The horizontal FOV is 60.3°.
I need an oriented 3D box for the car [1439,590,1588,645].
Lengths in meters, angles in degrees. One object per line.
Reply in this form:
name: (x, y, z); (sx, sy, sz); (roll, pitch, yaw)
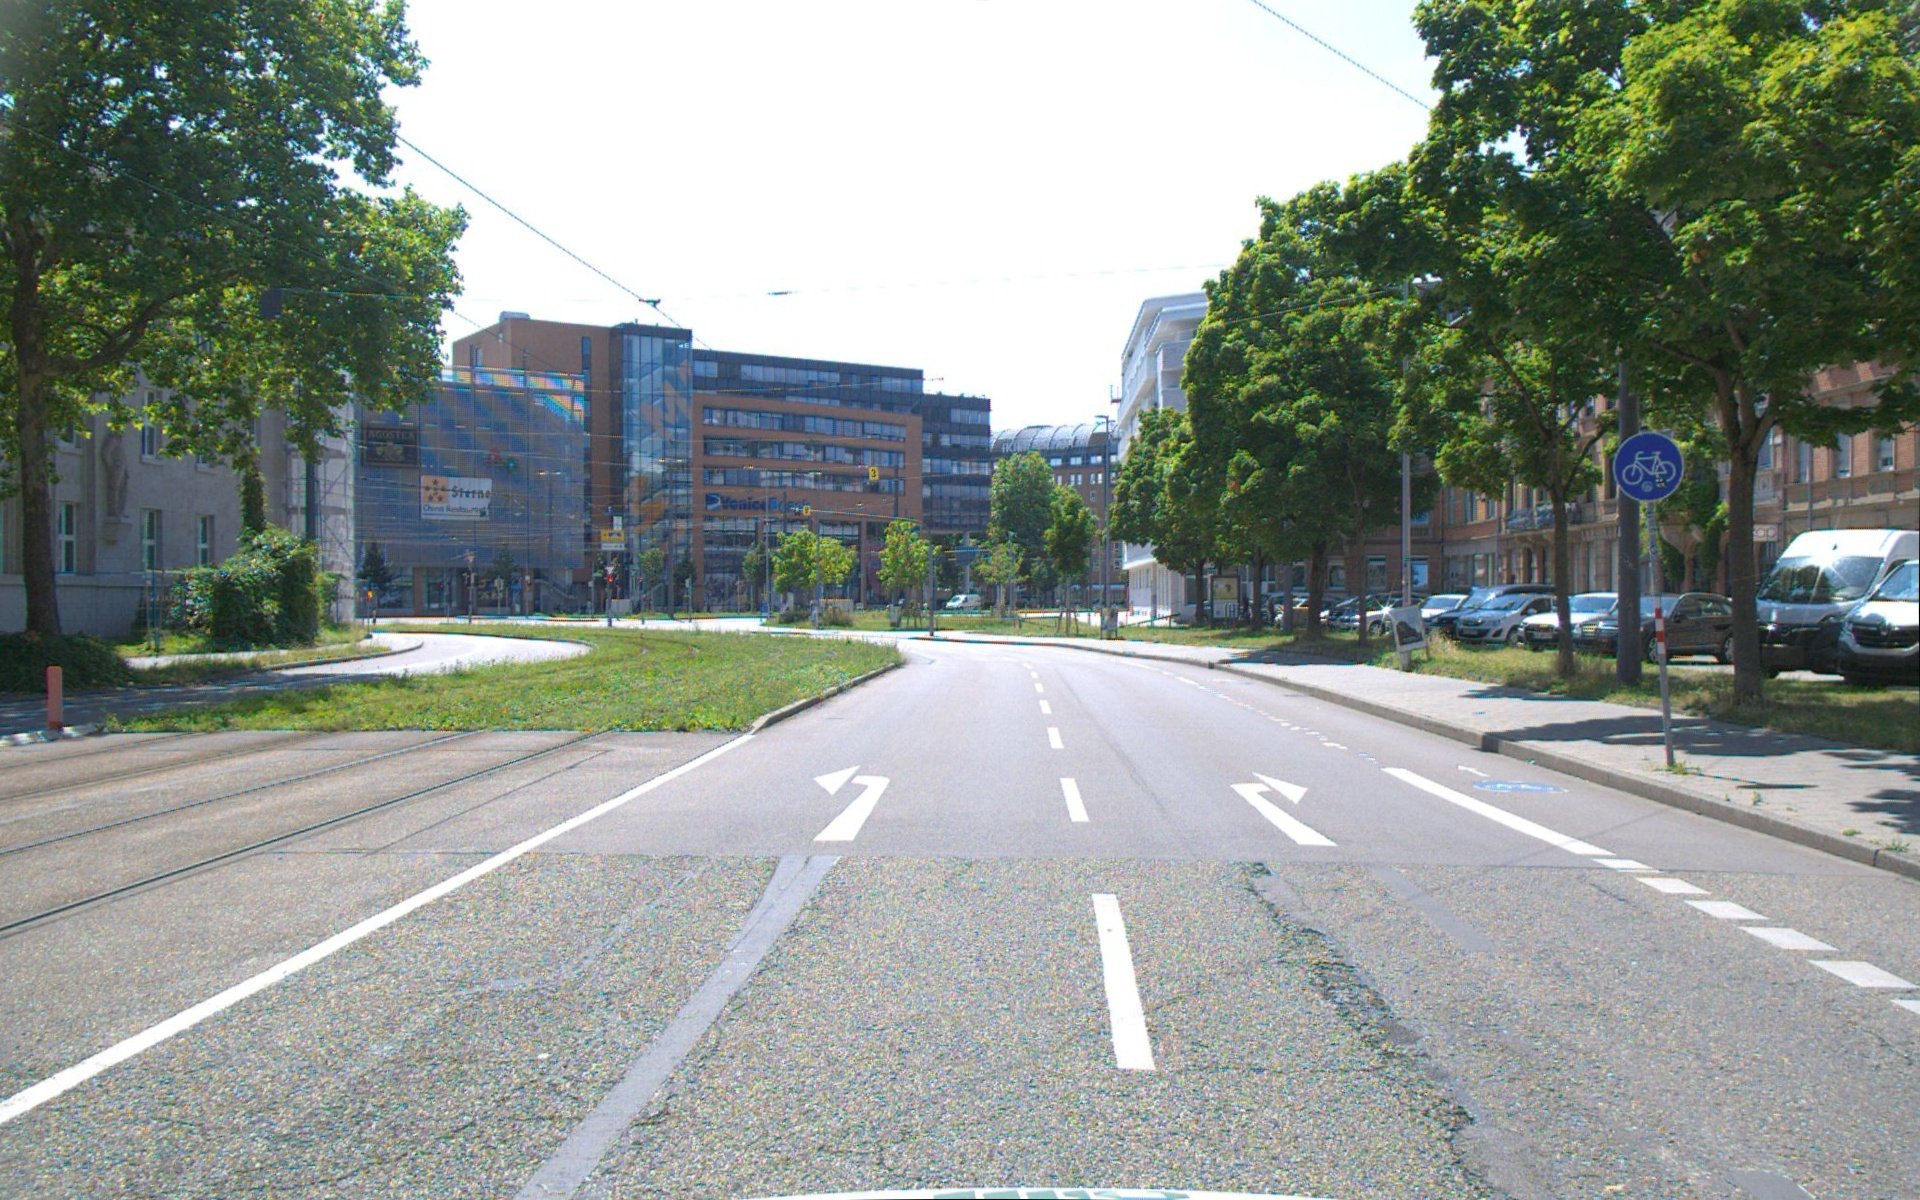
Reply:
car: (15.044, 0.459, 44.918); (3.946, 1.424, 1.695); (1, 0, -31)

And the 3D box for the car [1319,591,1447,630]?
car: (14.788, 0.368, 57.840); (3.928, 1.336, 1.961); (1, 0, -20)

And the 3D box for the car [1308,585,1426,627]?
car: (14.972, 0.219, 60.863); (4.028, 1.495, 1.783); (1, 0, -26)

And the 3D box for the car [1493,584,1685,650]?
car: (14.663, 0.381, 38.455); (4.638, 1.452, 1.948); (0, 0, -35)

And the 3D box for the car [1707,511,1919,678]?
car: (14.851, -0.075, 27.212); (5.487, 2.503, 2.211); (1, 0, -35)

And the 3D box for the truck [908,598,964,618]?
truck: (-3.636, 1.162, 250.481); (9.049, 2.858, 1.994); (1, 0, 34)

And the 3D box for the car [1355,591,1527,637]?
car: (14.588, 0.424, 50.195); (4.702, 1.336, 2.137); (1, 0, -20)

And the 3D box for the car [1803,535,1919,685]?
car: (14.590, 0.147, 23.770); (4.776, 2.007, 2.058); (1, 0, -28)

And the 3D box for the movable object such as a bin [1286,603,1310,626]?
movable object such as a bin: (14.151, 0.589, 69.291); (0.965, 0.953, 0.702); (1, 0, 13)

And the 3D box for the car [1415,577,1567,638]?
car: (15.417, 0.221, 48.053); (3.935, 1.691, 1.957); (1, 0, -25)

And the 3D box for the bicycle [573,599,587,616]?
bicycle: (-38.060, 0.743, 165.789); (0.593, 1.761, 2.233); (1, 0, -34)

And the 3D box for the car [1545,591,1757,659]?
car: (14.627, 0.507, 34.986); (4.372, 1.362, 1.952); (1, 0, -31)

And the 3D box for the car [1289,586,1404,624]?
car: (14.830, 0.201, 63.437); (4.277, 1.400, 1.570); (1, 0, -25)

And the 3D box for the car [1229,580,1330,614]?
car: (15.846, -0.155, 82.045); (4.798, 1.629, 1.821); (1, 0, -26)

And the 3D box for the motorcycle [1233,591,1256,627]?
motorcycle: (11.746, 0.360, 68.344); (0.661, 1.438, 1.857); (-2, 0, 3)
